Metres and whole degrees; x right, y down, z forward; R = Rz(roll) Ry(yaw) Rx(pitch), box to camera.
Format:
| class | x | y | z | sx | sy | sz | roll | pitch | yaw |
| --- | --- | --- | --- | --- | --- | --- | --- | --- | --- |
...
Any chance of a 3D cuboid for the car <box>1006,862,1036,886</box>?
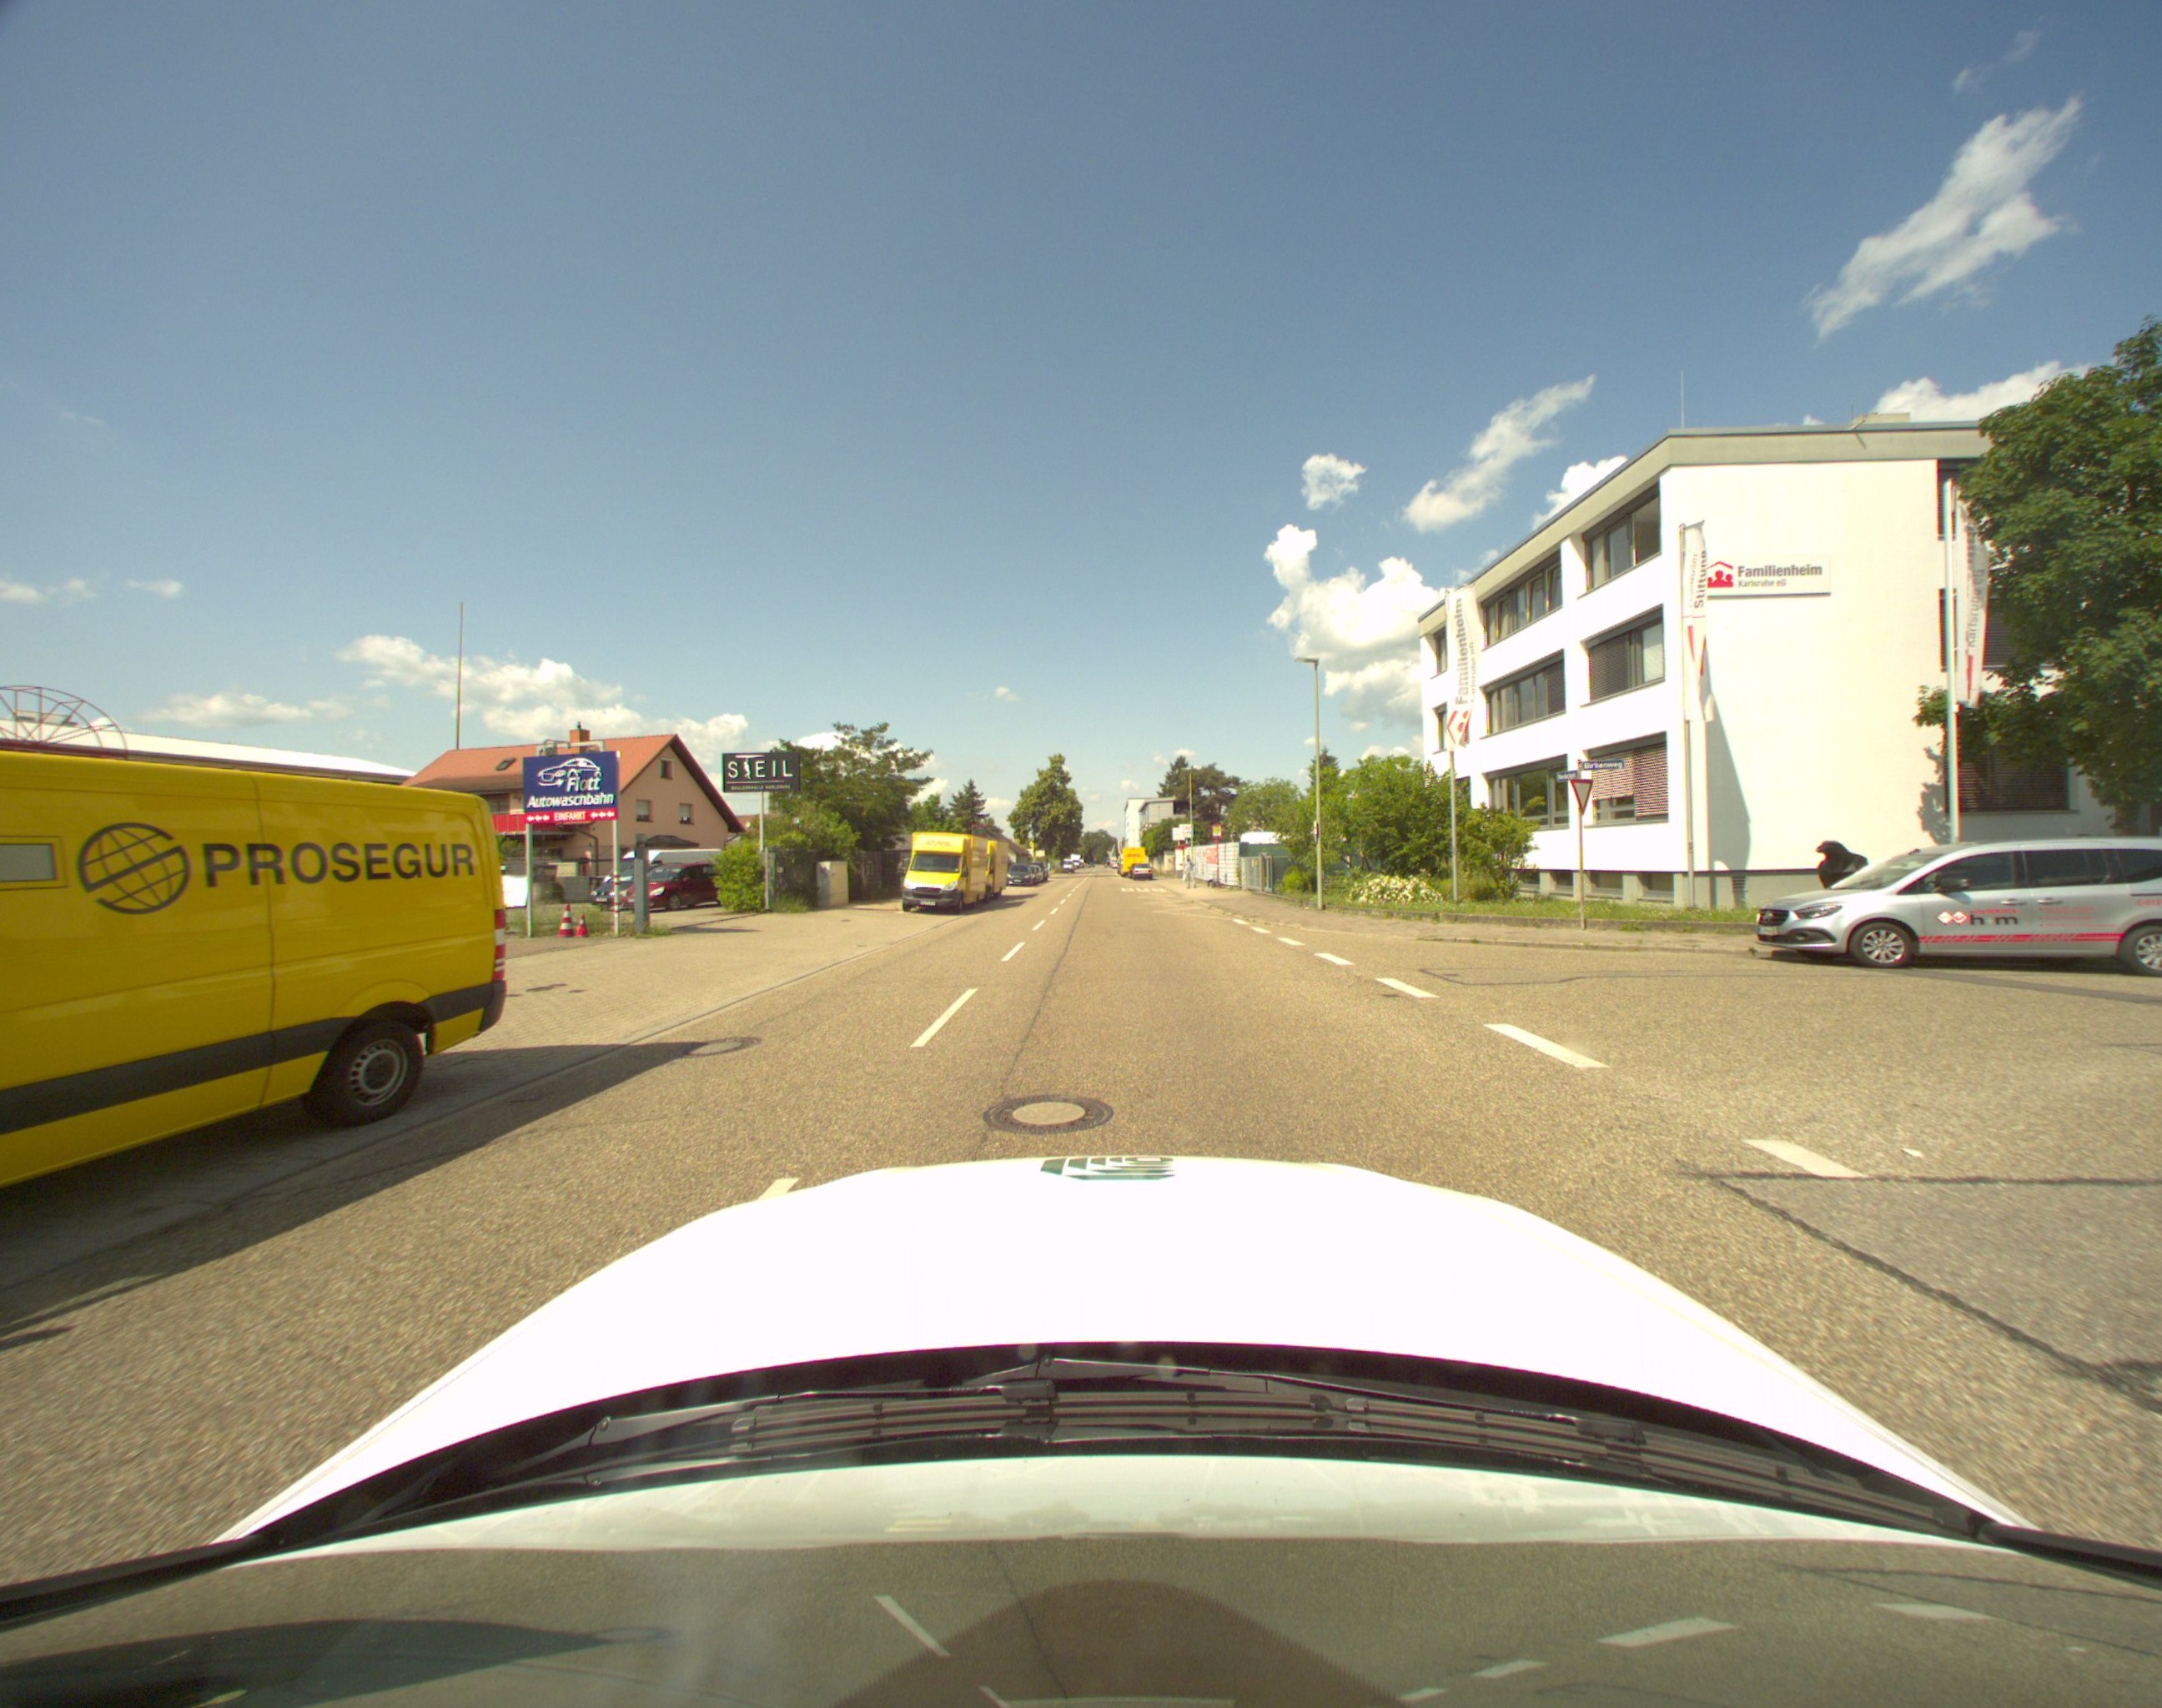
| class | x | y | z | sx | sy | sz | roll | pitch | yaw |
| --- | --- | --- | --- | --- | --- | --- | --- | --- | --- |
| car | -4.217 | 1.410 | 57.774 | 1.719 | 1.604 | 4.413 | 2 | -1 | 0 |

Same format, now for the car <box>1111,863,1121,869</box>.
| class | x | y | z | sx | sy | sz | roll | pitch | yaw |
| --- | --- | --- | --- | --- | --- | --- | --- | --- | --- |
| car | 7.398 | 2.536 | 172.784 | 1.921 | 1.310 | 4.001 | -1 | -1 | 1 |

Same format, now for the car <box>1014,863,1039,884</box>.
| class | x | y | z | sx | sy | sz | roll | pitch | yaw |
| --- | --- | --- | --- | --- | --- | --- | --- | --- | --- |
| car | -4.194 | 1.505 | 63.123 | 1.622 | 1.448 | 4.026 | 3 | -1 | 0 |

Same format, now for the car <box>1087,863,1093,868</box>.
| class | x | y | z | sx | sy | sz | roll | pitch | yaw |
| --- | --- | --- | --- | --- | --- | --- | --- | --- | --- |
| car | 2.674 | 3.395 | 244.728 | 1.648 | 1.325 | 4.417 | -1 | -1 | 2 |

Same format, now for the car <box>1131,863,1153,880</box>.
| class | x | y | z | sx | sy | sz | roll | pitch | yaw |
| --- | --- | --- | --- | --- | --- | --- | --- | --- | --- |
| car | 5.091 | 1.472 | 68.703 | 1.645 | 1.387 | 4.424 | 0 | 0 | 2 |

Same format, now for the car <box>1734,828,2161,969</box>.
| class | x | y | z | sx | sy | sz | roll | pitch | yaw |
| --- | --- | --- | --- | --- | --- | --- | --- | --- | --- |
| car | 12.315 | 0.634 | 11.539 | 4.359 | 1.753 | 1.873 | -1 | -3 | 19 |

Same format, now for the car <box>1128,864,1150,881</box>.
| class | x | y | z | sx | sy | sz | roll | pitch | yaw |
| --- | --- | --- | --- | --- | --- | --- | --- | --- | --- |
| car | 5.226 | 1.681 | 73.411 | 1.657 | 1.441 | 4.282 | -1 | -1 | 0 |

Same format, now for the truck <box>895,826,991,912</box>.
| class | x | y | z | sx | sy | sz | roll | pitch | yaw |
| --- | --- | --- | --- | --- | --- | --- | --- | --- | --- |
| truck | -4.969 | 0.579 | 30.589 | 2.261 | 2.855 | 7.174 | 0 | -1 | 1 |

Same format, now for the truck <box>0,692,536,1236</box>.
| class | x | y | z | sx | sy | sz | roll | pitch | yaw |
| --- | --- | --- | --- | --- | --- | --- | --- | --- | --- |
| truck | -5.781 | 0.502 | 3.930 | 1.985 | 2.414 | 6.068 | -1 | -1 | 3 |

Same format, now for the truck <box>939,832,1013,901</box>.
| class | x | y | z | sx | sy | sz | roll | pitch | yaw |
| --- | --- | --- | --- | --- | --- | --- | --- | --- | --- |
| truck | -4.796 | 0.584 | 38.309 | 2.308 | 2.863 | 7.105 | 2 | -1 | 1 |

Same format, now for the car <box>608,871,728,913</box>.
| class | x | y | z | sx | sy | sz | roll | pitch | yaw |
| --- | --- | --- | --- | --- | --- | --- | --- | --- | --- |
| car | -15.399 | 1.391 | 30.608 | 1.796 | 1.305 | 3.885 | -2 | 0 | 16 |

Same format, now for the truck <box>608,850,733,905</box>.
| class | x | y | z | sx | sy | sz | roll | pitch | yaw |
| --- | --- | --- | --- | --- | --- | --- | --- | --- | --- |
| truck | -19.682 | 1.088 | 39.462 | 2.095 | 2.488 | 5.743 | -1 | -1 | 15 |

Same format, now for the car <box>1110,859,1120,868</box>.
| class | x | y | z | sx | sy | sz | roll | pitch | yaw |
| --- | --- | --- | --- | --- | --- | --- | --- | --- | --- |
| car | 7.810 | 2.191 | 186.503 | 2.208 | 2.014 | 5.486 | -1 | -1 | 2 |

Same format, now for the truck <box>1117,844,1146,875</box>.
| class | x | y | z | sx | sy | sz | roll | pitch | yaw |
| --- | --- | --- | --- | --- | --- | --- | --- | --- | --- |
| truck | 4.932 | 0.591 | 80.391 | 2.466 | 2.940 | 7.187 | 0 | -1 | 0 |

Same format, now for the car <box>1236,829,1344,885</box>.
| class | x | y | z | sx | sy | sz | roll | pitch | yaw |
| --- | --- | --- | --- | --- | --- | --- | --- | --- | --- |
| car | 10.566 | 0.152 | 41.365 | 4.901 | 2.652 | 2.068 | -1 | -1 | -7 |

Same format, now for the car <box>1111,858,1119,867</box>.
| class | x | y | z | sx | sy | sz | roll | pitch | yaw |
| --- | --- | --- | --- | --- | --- | --- | --- | --- | --- |
| car | 8.200 | 2.122 | 197.191 | 1.701 | 2.090 | 4.000 | -1 | -1 | 1 |

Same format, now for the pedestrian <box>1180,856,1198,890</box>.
| class | x | y | z | sx | sy | sz | roll | pitch | yaw |
| --- | --- | --- | --- | --- | --- | --- | --- | --- | --- |
| pedestrian | 5.715 | 1.011 | 43.096 | 0.714 | 1.697 | 0.522 | -6 | -1 | -4 |

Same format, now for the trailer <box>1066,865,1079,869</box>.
| class | x | y | z | sx | sy | sz | roll | pitch | yaw |
| --- | --- | --- | --- | --- | --- | --- | --- | --- | --- |
| trailer | -1.830 | 2.739 | 170.763 | 2.408 | 0.813 | 5.539 | 1 | -1 | 2 |

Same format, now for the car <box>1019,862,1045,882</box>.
| class | x | y | z | sx | sy | sz | roll | pitch | yaw |
| --- | --- | --- | --- | --- | --- | --- | --- | --- | --- |
| car | -4.114 | 1.498 | 68.913 | 1.727 | 1.518 | 4.743 | 1 | 0 | 1 |

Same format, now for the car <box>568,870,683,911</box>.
| class | x | y | z | sx | sy | sz | roll | pitch | yaw |
| --- | --- | --- | --- | --- | --- | --- | --- | --- | --- |
| car | -18.157 | 1.414 | 32.670 | 1.752 | 1.513 | 3.932 | -1 | -1 | 14 |

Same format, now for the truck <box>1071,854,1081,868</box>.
| class | x | y | z | sx | sy | sz | roll | pitch | yaw |
| --- | --- | --- | --- | --- | --- | --- | --- | --- | --- |
| truck | -1.121 | 1.642 | 185.280 | 2.022 | 3.154 | 6.501 | -1 | -1 | 2 |

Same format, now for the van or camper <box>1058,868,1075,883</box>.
| class | x | y | z | sx | sy | sz | roll | pitch | yaw |
| --- | --- | --- | --- | --- | --- | --- | --- | --- | --- |
| van or camper | -2.464 | 3.657 | 139.702 | 2.163 | 2.413 | 7.706 | -1 | -1 | 5 |

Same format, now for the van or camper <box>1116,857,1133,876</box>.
| class | x | y | z | sx | sy | sz | roll | pitch | yaw |
| --- | --- | --- | --- | --- | --- | --- | --- | --- | --- |
| van or camper | 5.364 | 1.569 | 100.687 | 1.986 | 2.291 | 5.449 | 1 | -1 | 1 |
